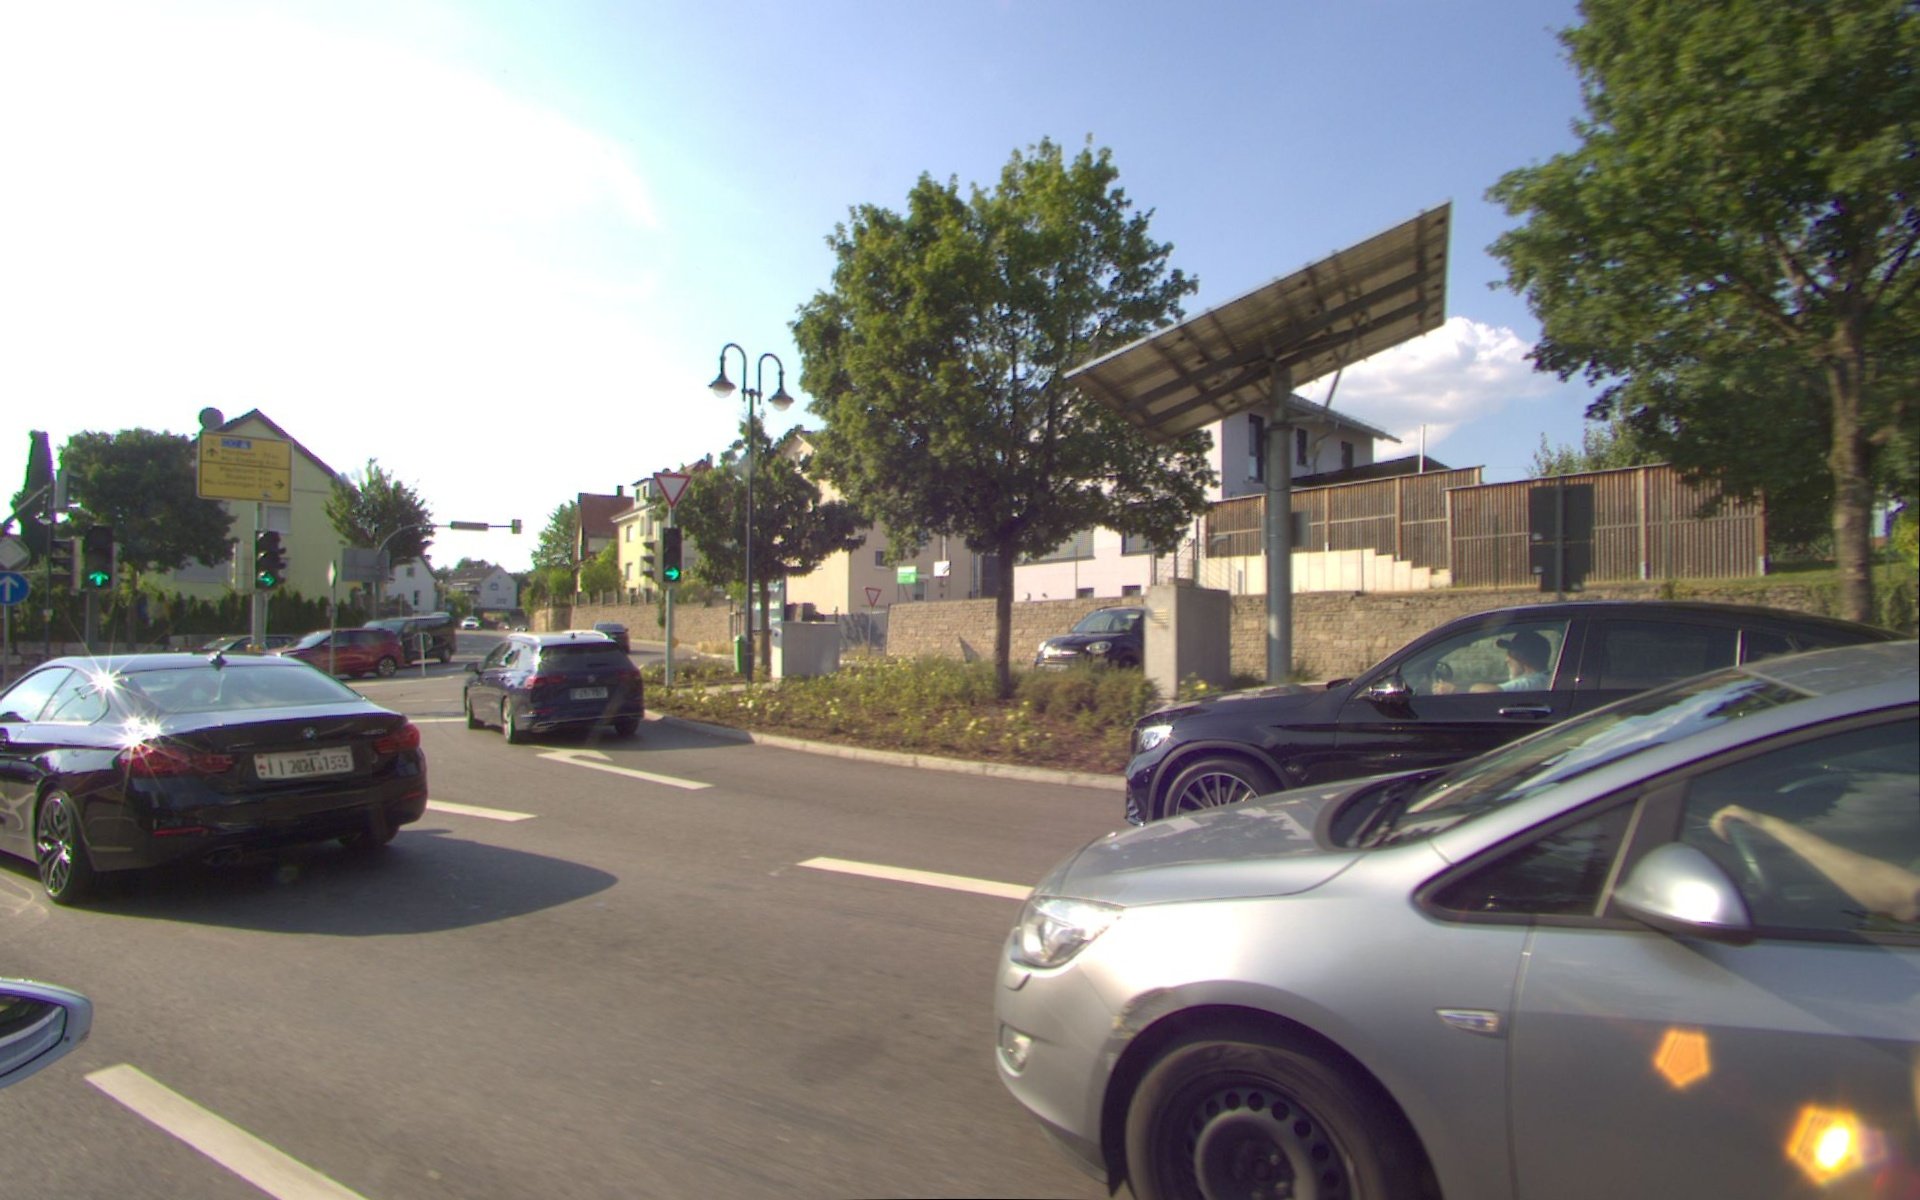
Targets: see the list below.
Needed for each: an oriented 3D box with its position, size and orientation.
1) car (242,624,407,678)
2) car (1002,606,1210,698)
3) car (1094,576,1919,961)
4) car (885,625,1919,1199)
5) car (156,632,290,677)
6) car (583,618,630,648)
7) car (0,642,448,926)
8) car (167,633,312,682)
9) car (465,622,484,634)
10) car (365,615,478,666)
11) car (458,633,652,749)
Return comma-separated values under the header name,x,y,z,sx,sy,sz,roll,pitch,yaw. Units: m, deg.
name,x,y,z,sx,sy,sz,roll,pitch,yaw
car,-20.677,1.621,32.776,1.833,1.646,4.239,-1,-2,27
car,2.712,0.898,18.022,1.662,1.475,4.042,-2,-2,45
car,3.167,0.749,5.692,4.429,1.586,1.837,-1,-2,31
car,1.975,0.790,2.206,4.083,1.441,1.645,-1,0,31
car,-26.816,1.962,36.548,1.602,1.468,3.594,-2,-1,28
car,-16.737,1.568,47.313,1.788,1.361,3.988,1,-2,-23
car,-5.552,1.007,6.906,4.201,1.386,1.697,-1,-1,32
car,-23.934,1.883,33.327,3.761,1.561,1.584,2,-3,-43
car,-55.431,3.195,114.323,1.788,1.361,3.988,1,-2,-23
car,-22.183,1.658,41.510,1.961,1.956,5.181,0,-2,-1
car,-6.058,1.207,14.696,1.615,1.428,4.247,1,-2,-37
